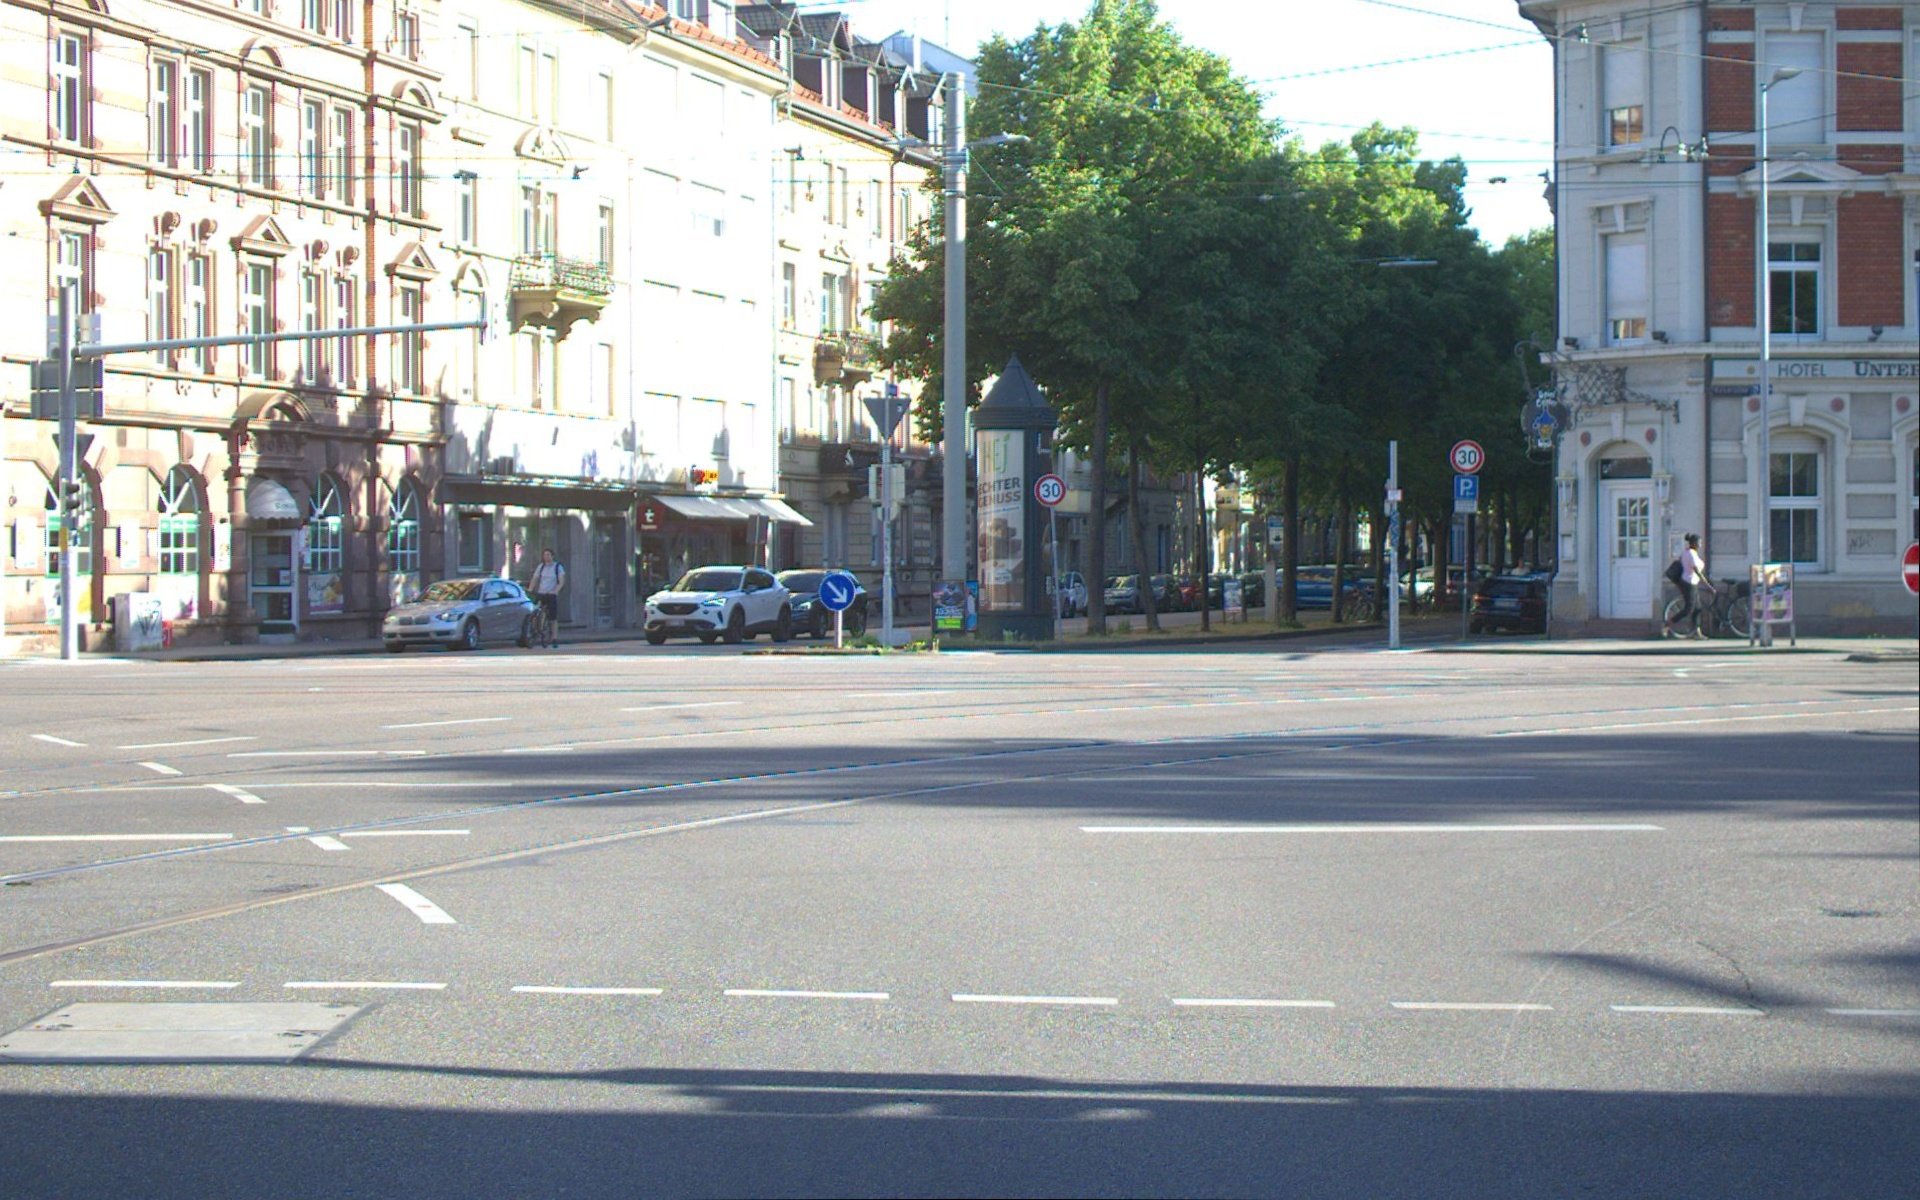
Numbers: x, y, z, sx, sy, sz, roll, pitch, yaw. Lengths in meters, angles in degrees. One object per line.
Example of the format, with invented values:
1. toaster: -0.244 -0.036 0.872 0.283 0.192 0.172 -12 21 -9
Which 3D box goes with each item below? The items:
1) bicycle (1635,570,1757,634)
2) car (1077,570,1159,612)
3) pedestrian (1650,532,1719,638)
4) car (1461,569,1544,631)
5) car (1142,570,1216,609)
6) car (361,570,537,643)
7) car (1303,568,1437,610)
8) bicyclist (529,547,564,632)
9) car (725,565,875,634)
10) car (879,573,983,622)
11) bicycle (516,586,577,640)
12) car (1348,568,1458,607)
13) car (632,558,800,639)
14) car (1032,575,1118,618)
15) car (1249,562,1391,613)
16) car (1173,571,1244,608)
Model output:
1. bicycle: 12.271 0.031 57.342 1.953 1.050 0.715 0 1 10
2. car: 5.654 -0.333 122.579 1.995 1.400 4.166 0 1 16
3. pedestrian: 11.892 -0.249 56.436 1.036 1.706 0.629 1 0 9
4. car: 13.049 -0.019 82.529 1.756 1.415 3.998 0 1 12
5. car: 8.407 -0.410 131.407 1.995 1.400 4.166 0 1 16
6. car: -9.926 0.106 67.044 1.995 1.357 3.816 0 1 16
7. car: 12.579 -0.341 105.393 3.989 1.284 1.694 0 1 11
8. bicyclist: -7.838 -0.198 65.194 0.489 1.596 0.666 0 1 10
9. car: -3.397 -0.036 73.645 1.995 1.400 4.166 0 1 16
10. car: -0.842 -0.086 102.091 1.995 1.400 4.166 0 1 16
11. bicycle: -7.846 0.236 65.301 0.655 0.997 1.664 1 1 12
12. car: 14.364 -0.422 111.466 3.435 1.235 1.576 0 1 11
13. car: -4.751 -0.048 67.471 1.995 1.511 4.166 0 1 16
14. car: 3.941 -0.144 116.861 1.995 1.400 4.166 0 1 16
15. car: 10.449 -0.355 99.685 3.989 1.450 1.681 0 1 11
16. car: 9.884 -0.442 136.604 1.995 1.400 4.166 0 1 16
